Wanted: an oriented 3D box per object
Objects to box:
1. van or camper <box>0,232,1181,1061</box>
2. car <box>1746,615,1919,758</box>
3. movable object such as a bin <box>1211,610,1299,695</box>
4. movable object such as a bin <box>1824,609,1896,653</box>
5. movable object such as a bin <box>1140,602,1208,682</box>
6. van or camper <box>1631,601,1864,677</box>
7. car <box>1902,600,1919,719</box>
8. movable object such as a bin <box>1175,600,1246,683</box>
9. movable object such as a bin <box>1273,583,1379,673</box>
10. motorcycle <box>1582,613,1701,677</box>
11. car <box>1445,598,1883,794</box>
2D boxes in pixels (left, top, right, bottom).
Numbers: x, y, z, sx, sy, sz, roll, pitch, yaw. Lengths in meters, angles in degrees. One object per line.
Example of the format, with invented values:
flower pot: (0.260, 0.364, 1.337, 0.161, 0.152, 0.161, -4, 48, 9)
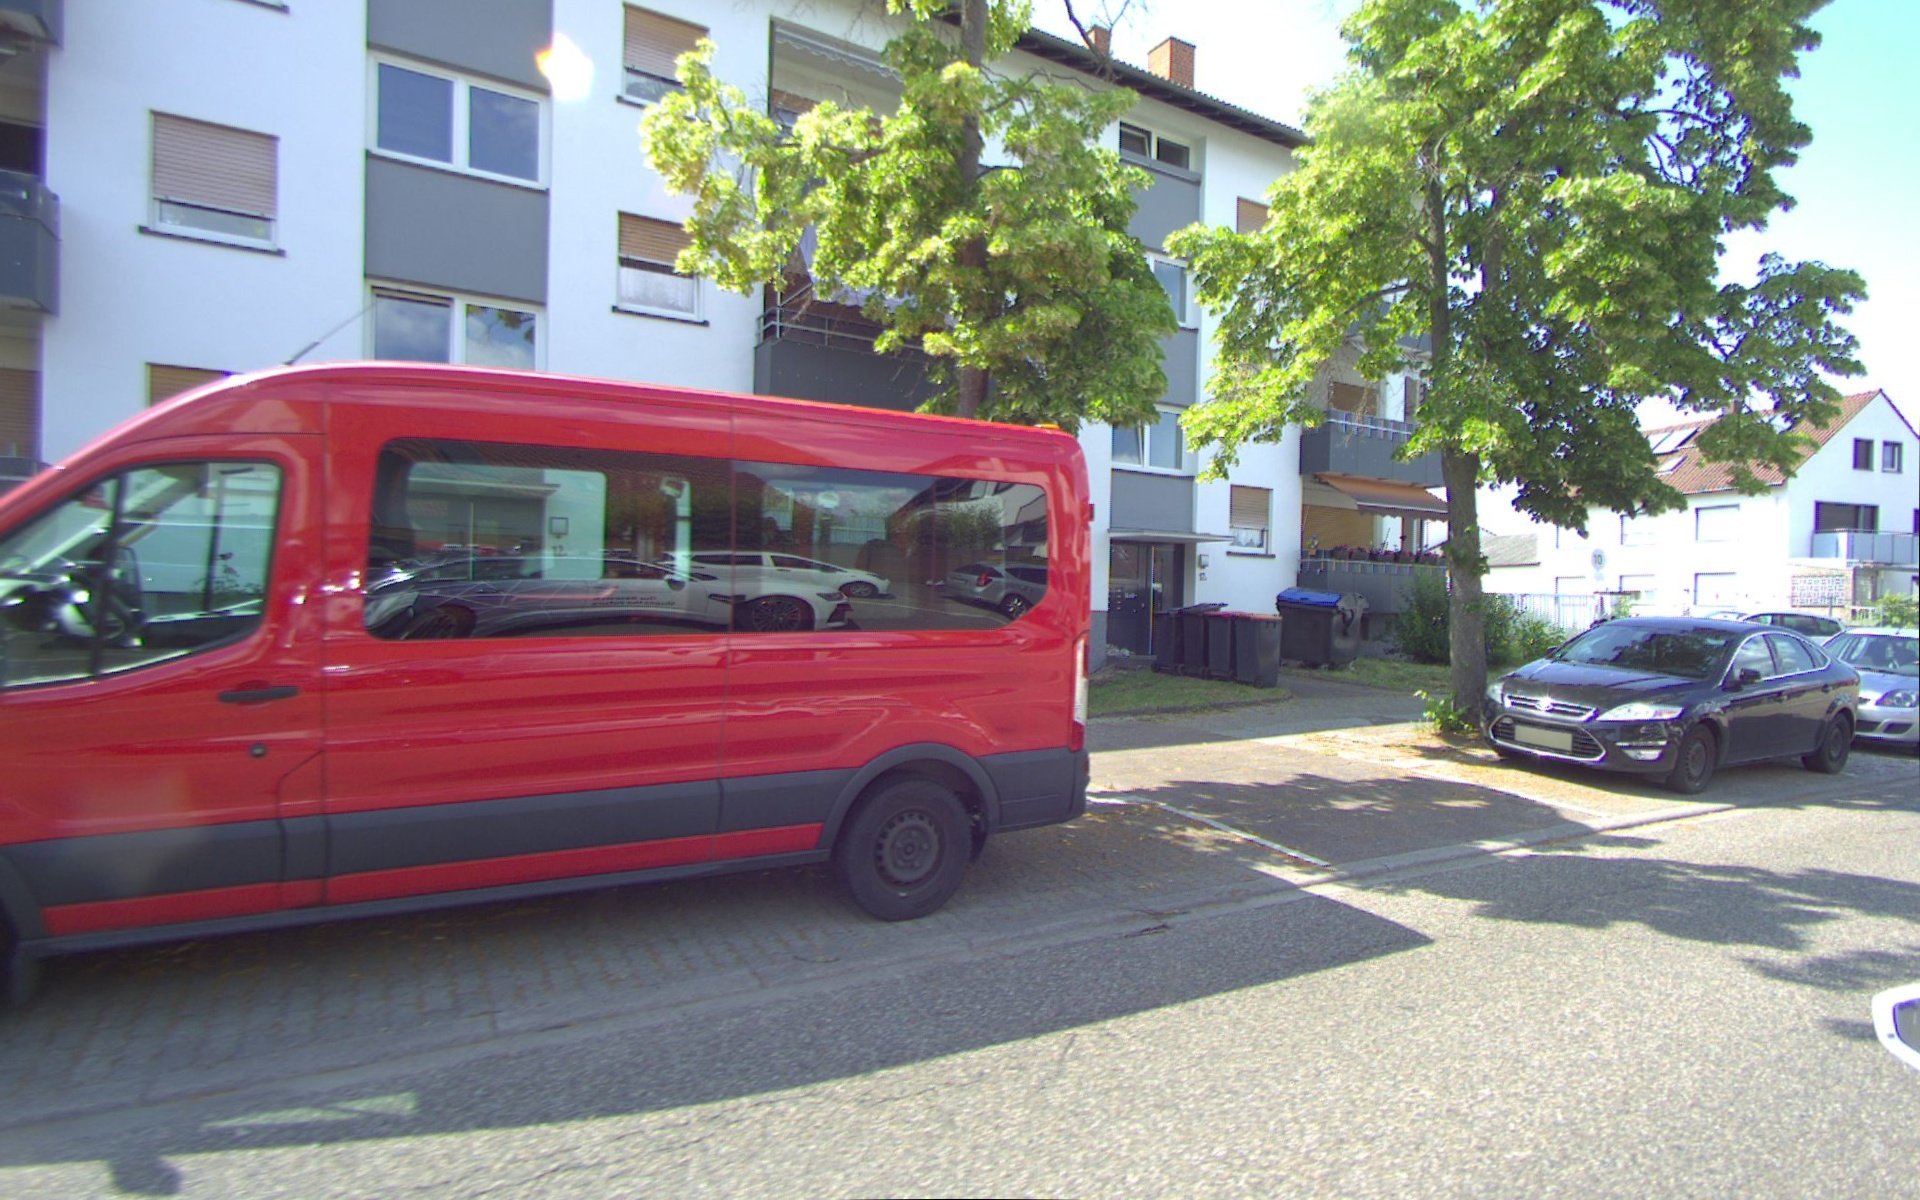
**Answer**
van or camper: (-2.041, 0.128, 4.870, 6.147, 2.583, 2.138, 1, 3, -29)
car: (12.109, 1.046, 12.984, 3.878, 1.489, 1.615, 2, 3, -29)
movable object such as a bin: (4.352, 0.747, 14.860, 0.815, 1.165, 0.949, -1, 2, -30)
movable object such as a bin: (33.699, 1.132, 37.631, 1.575, 1.451, 1.310, -5, 2, -13)
movable object such as a bin: (3.462, 0.661, 16.280, 0.796, 1.230, 0.746, -1, 2, -30)
van or camper: (18.458, 0.882, 23.702, 3.919, 1.563, 1.782, 2, 1, 6)
car: (17.143, 1.005, 16.054, 4.439, 1.830, 1.800, 1, 3, -31)
movable object such as a bin: (3.889, 0.623, 15.621, 0.796, 1.230, 0.746, -1, 2, -30)
movable object such as a bin: (6.468, 0.465, 17.790, 1.250, 1.402, 1.264, -5, 5, -30)
motorcycle: (15.166, 0.983, 22.413, 0.669, 1.266, 2.083, 1, 2, -29)
car: (7.153, 0.836, 10.109, 4.542, 1.514, 1.801, 1, 2, -30)
